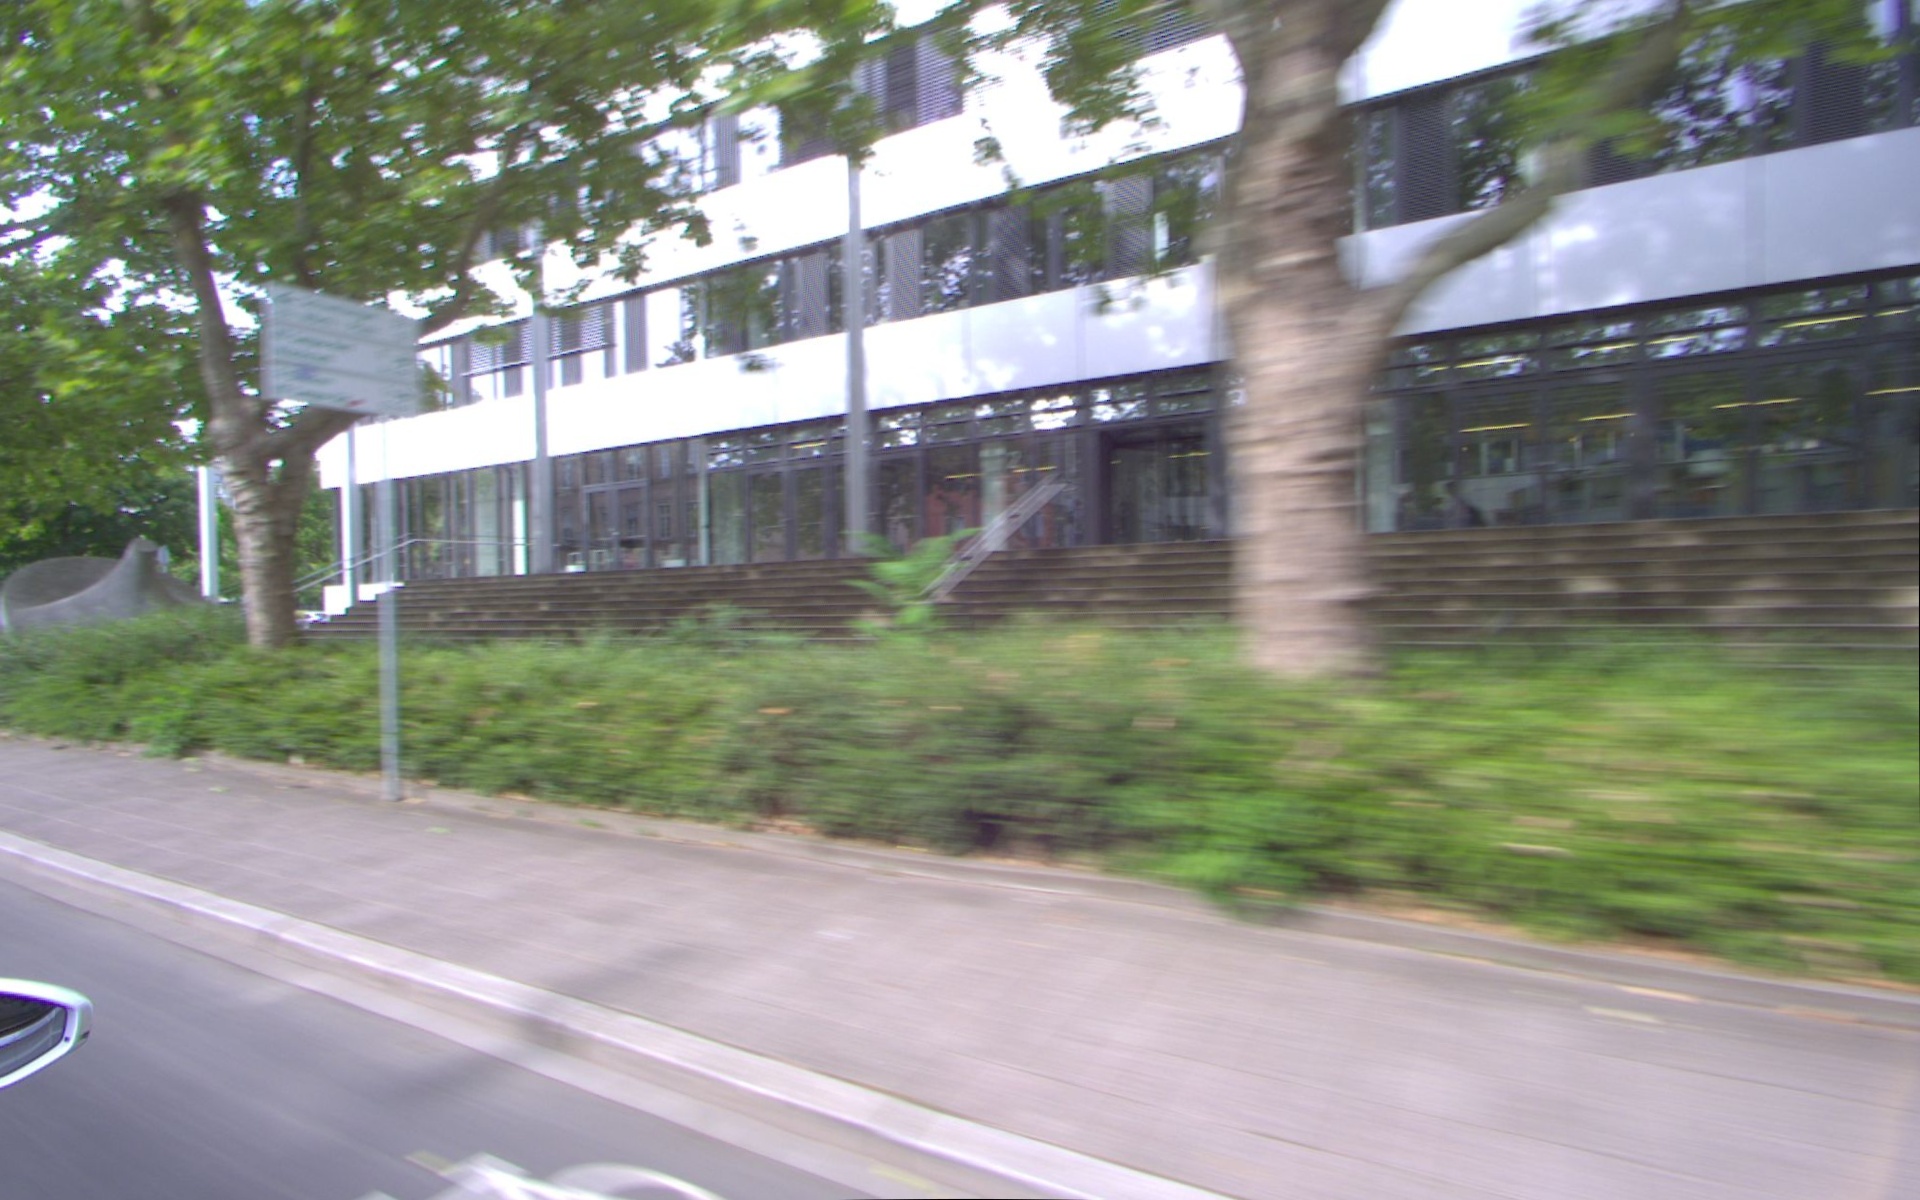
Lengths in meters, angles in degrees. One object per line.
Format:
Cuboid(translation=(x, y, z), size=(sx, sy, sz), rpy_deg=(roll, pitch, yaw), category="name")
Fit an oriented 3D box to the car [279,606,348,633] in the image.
Cuboid(translation=(-41.039, 1.220, 63.526), size=(4.089, 1.673, 1.959), rpy_deg=(-1, 0, 29), category="car")
